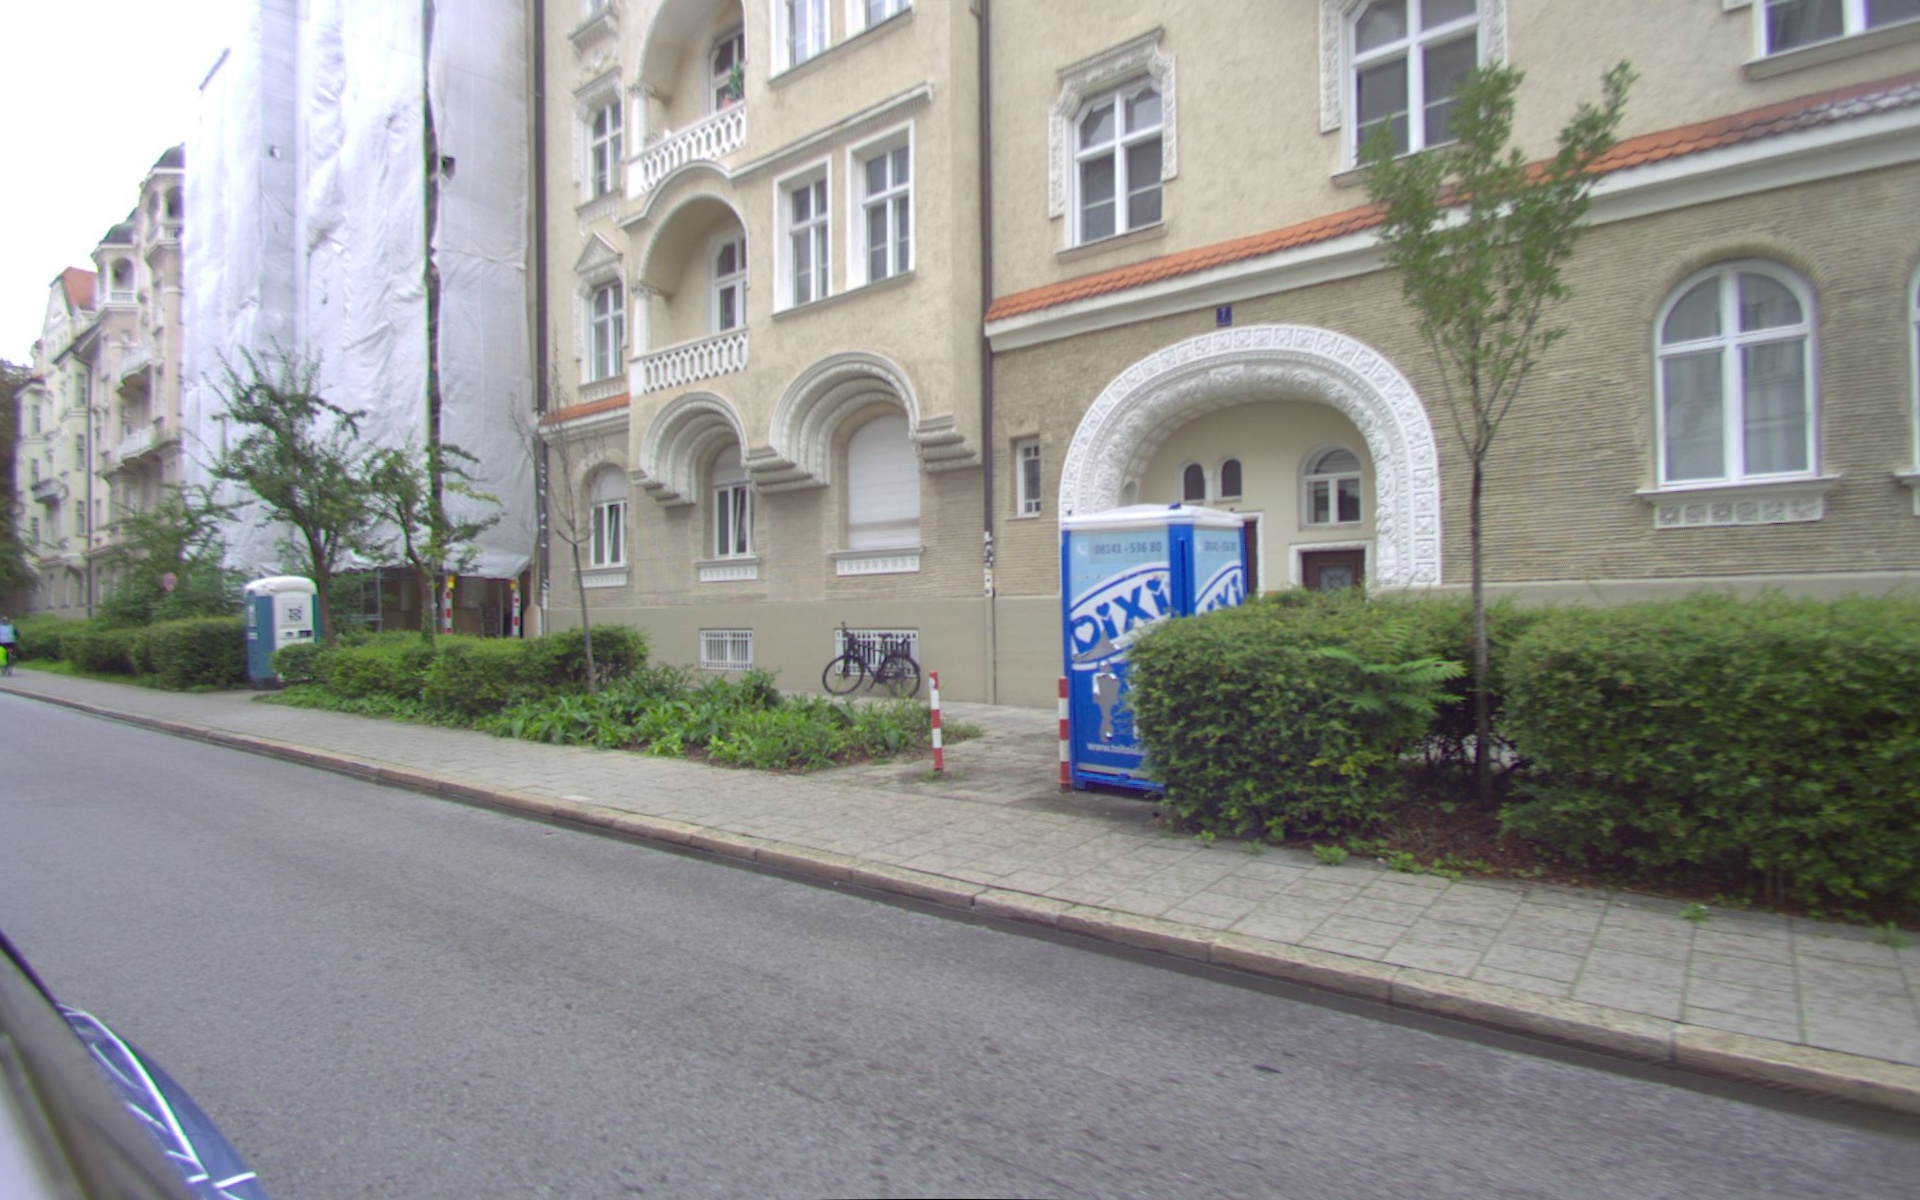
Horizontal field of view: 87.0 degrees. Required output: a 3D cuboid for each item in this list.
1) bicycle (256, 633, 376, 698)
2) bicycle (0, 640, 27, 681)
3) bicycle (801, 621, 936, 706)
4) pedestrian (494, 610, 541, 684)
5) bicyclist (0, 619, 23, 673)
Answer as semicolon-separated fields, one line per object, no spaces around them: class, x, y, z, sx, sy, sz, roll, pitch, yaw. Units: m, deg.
bicycle;-12.863;1.286;20.260;0.690;1.085;1.841;-2;3;41
bicycle;-27.198;1.705;28.694;2.047;1.090;0.760;-1;0;38
bicycle;-1.440;0.951;15.680;2.075;1.215;0.812;-2;0;39
pedestrian;-10.899;1.147;24.928;0.772;1.759;0.762;-2;0;37
bicyclist;-27.195;1.305;28.673;1.059;1.504;0.761;-2;0;38
